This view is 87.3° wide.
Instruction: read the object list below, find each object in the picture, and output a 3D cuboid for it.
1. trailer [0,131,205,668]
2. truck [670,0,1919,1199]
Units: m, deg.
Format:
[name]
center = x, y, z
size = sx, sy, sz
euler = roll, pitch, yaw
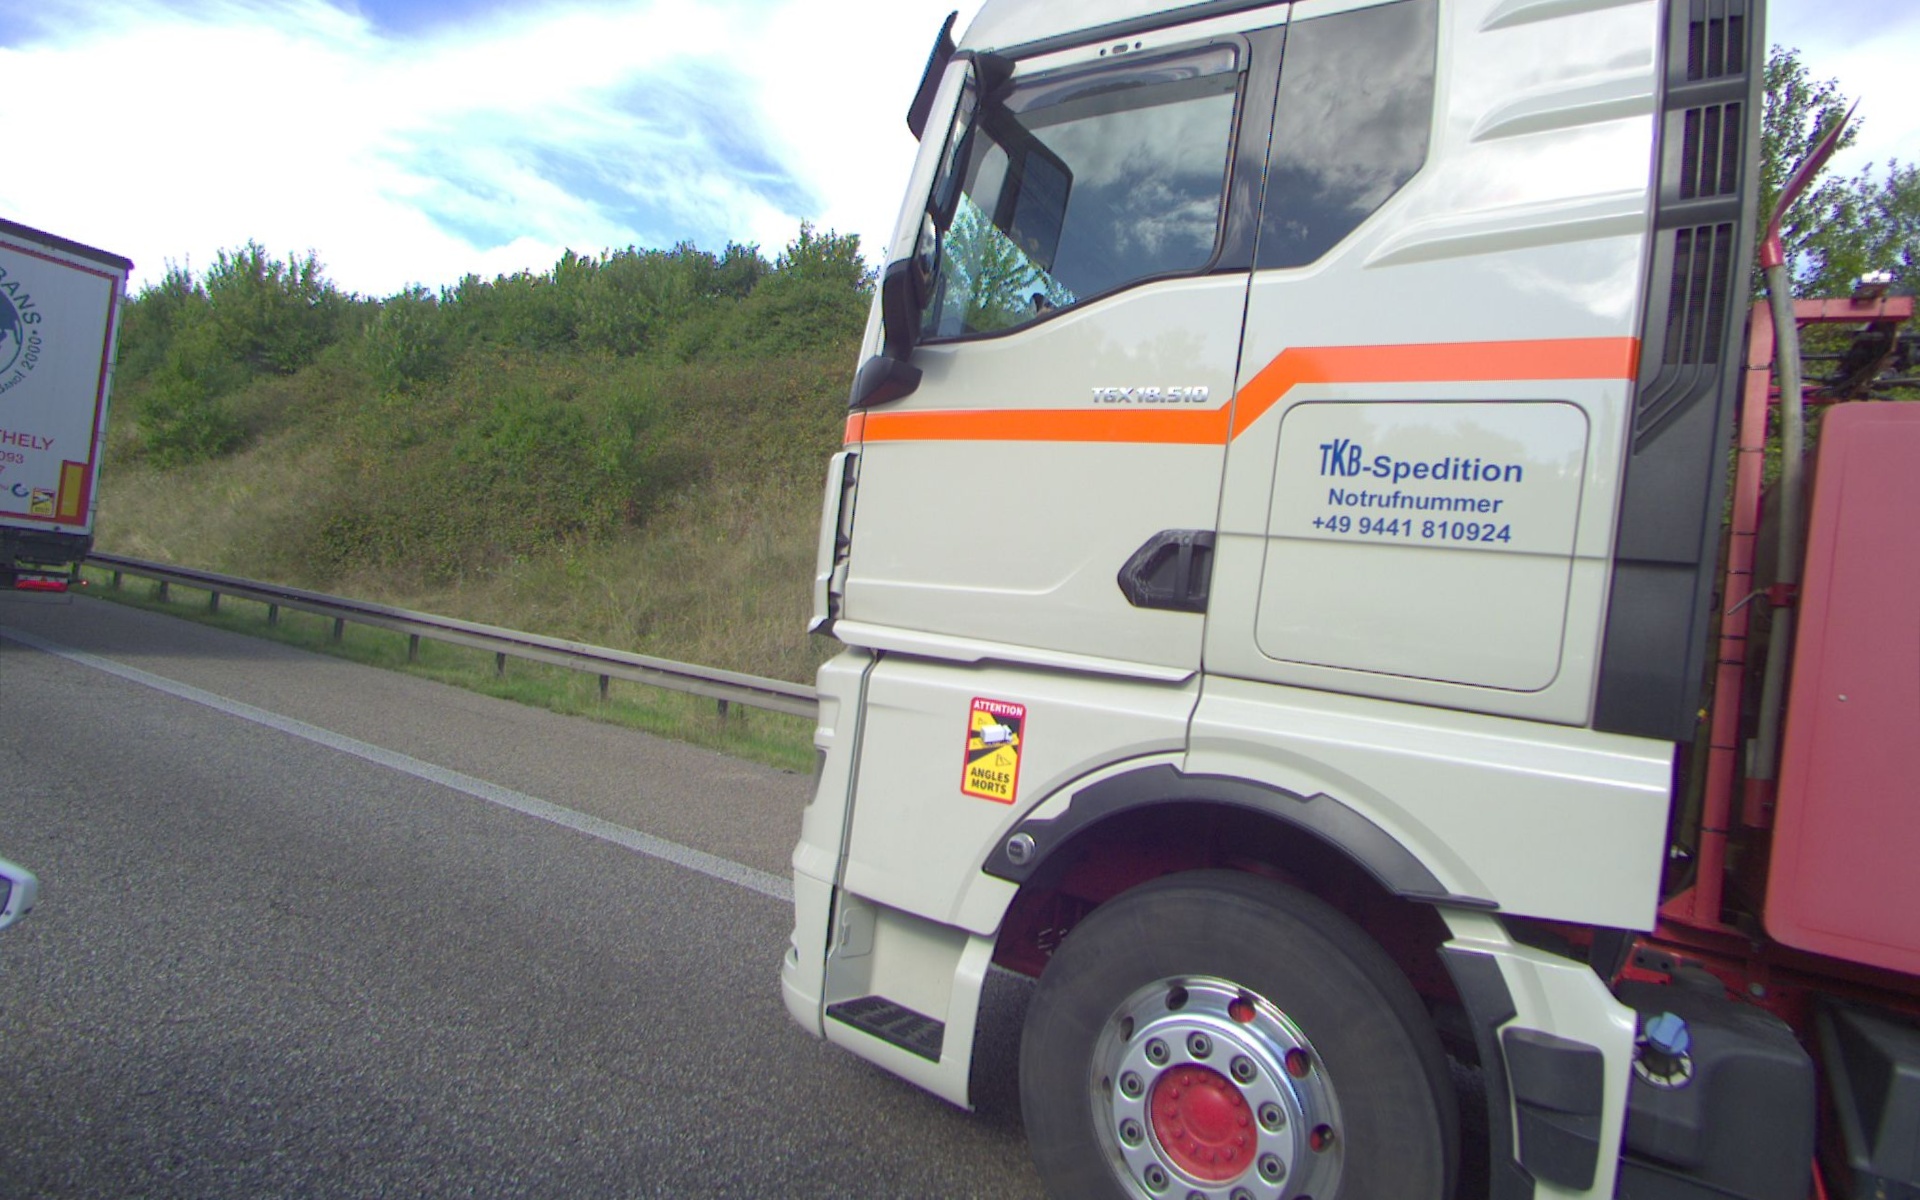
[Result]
[trailer]
center = -14.320, -2.467, 12.269
size = 13.066, 4.715, 3.008
euler = 7, -1, 31
[truck]
center = 2.592, -0.224, 2.512
size = 5.806, 4.091, 2.807
euler = 7, -1, 32
